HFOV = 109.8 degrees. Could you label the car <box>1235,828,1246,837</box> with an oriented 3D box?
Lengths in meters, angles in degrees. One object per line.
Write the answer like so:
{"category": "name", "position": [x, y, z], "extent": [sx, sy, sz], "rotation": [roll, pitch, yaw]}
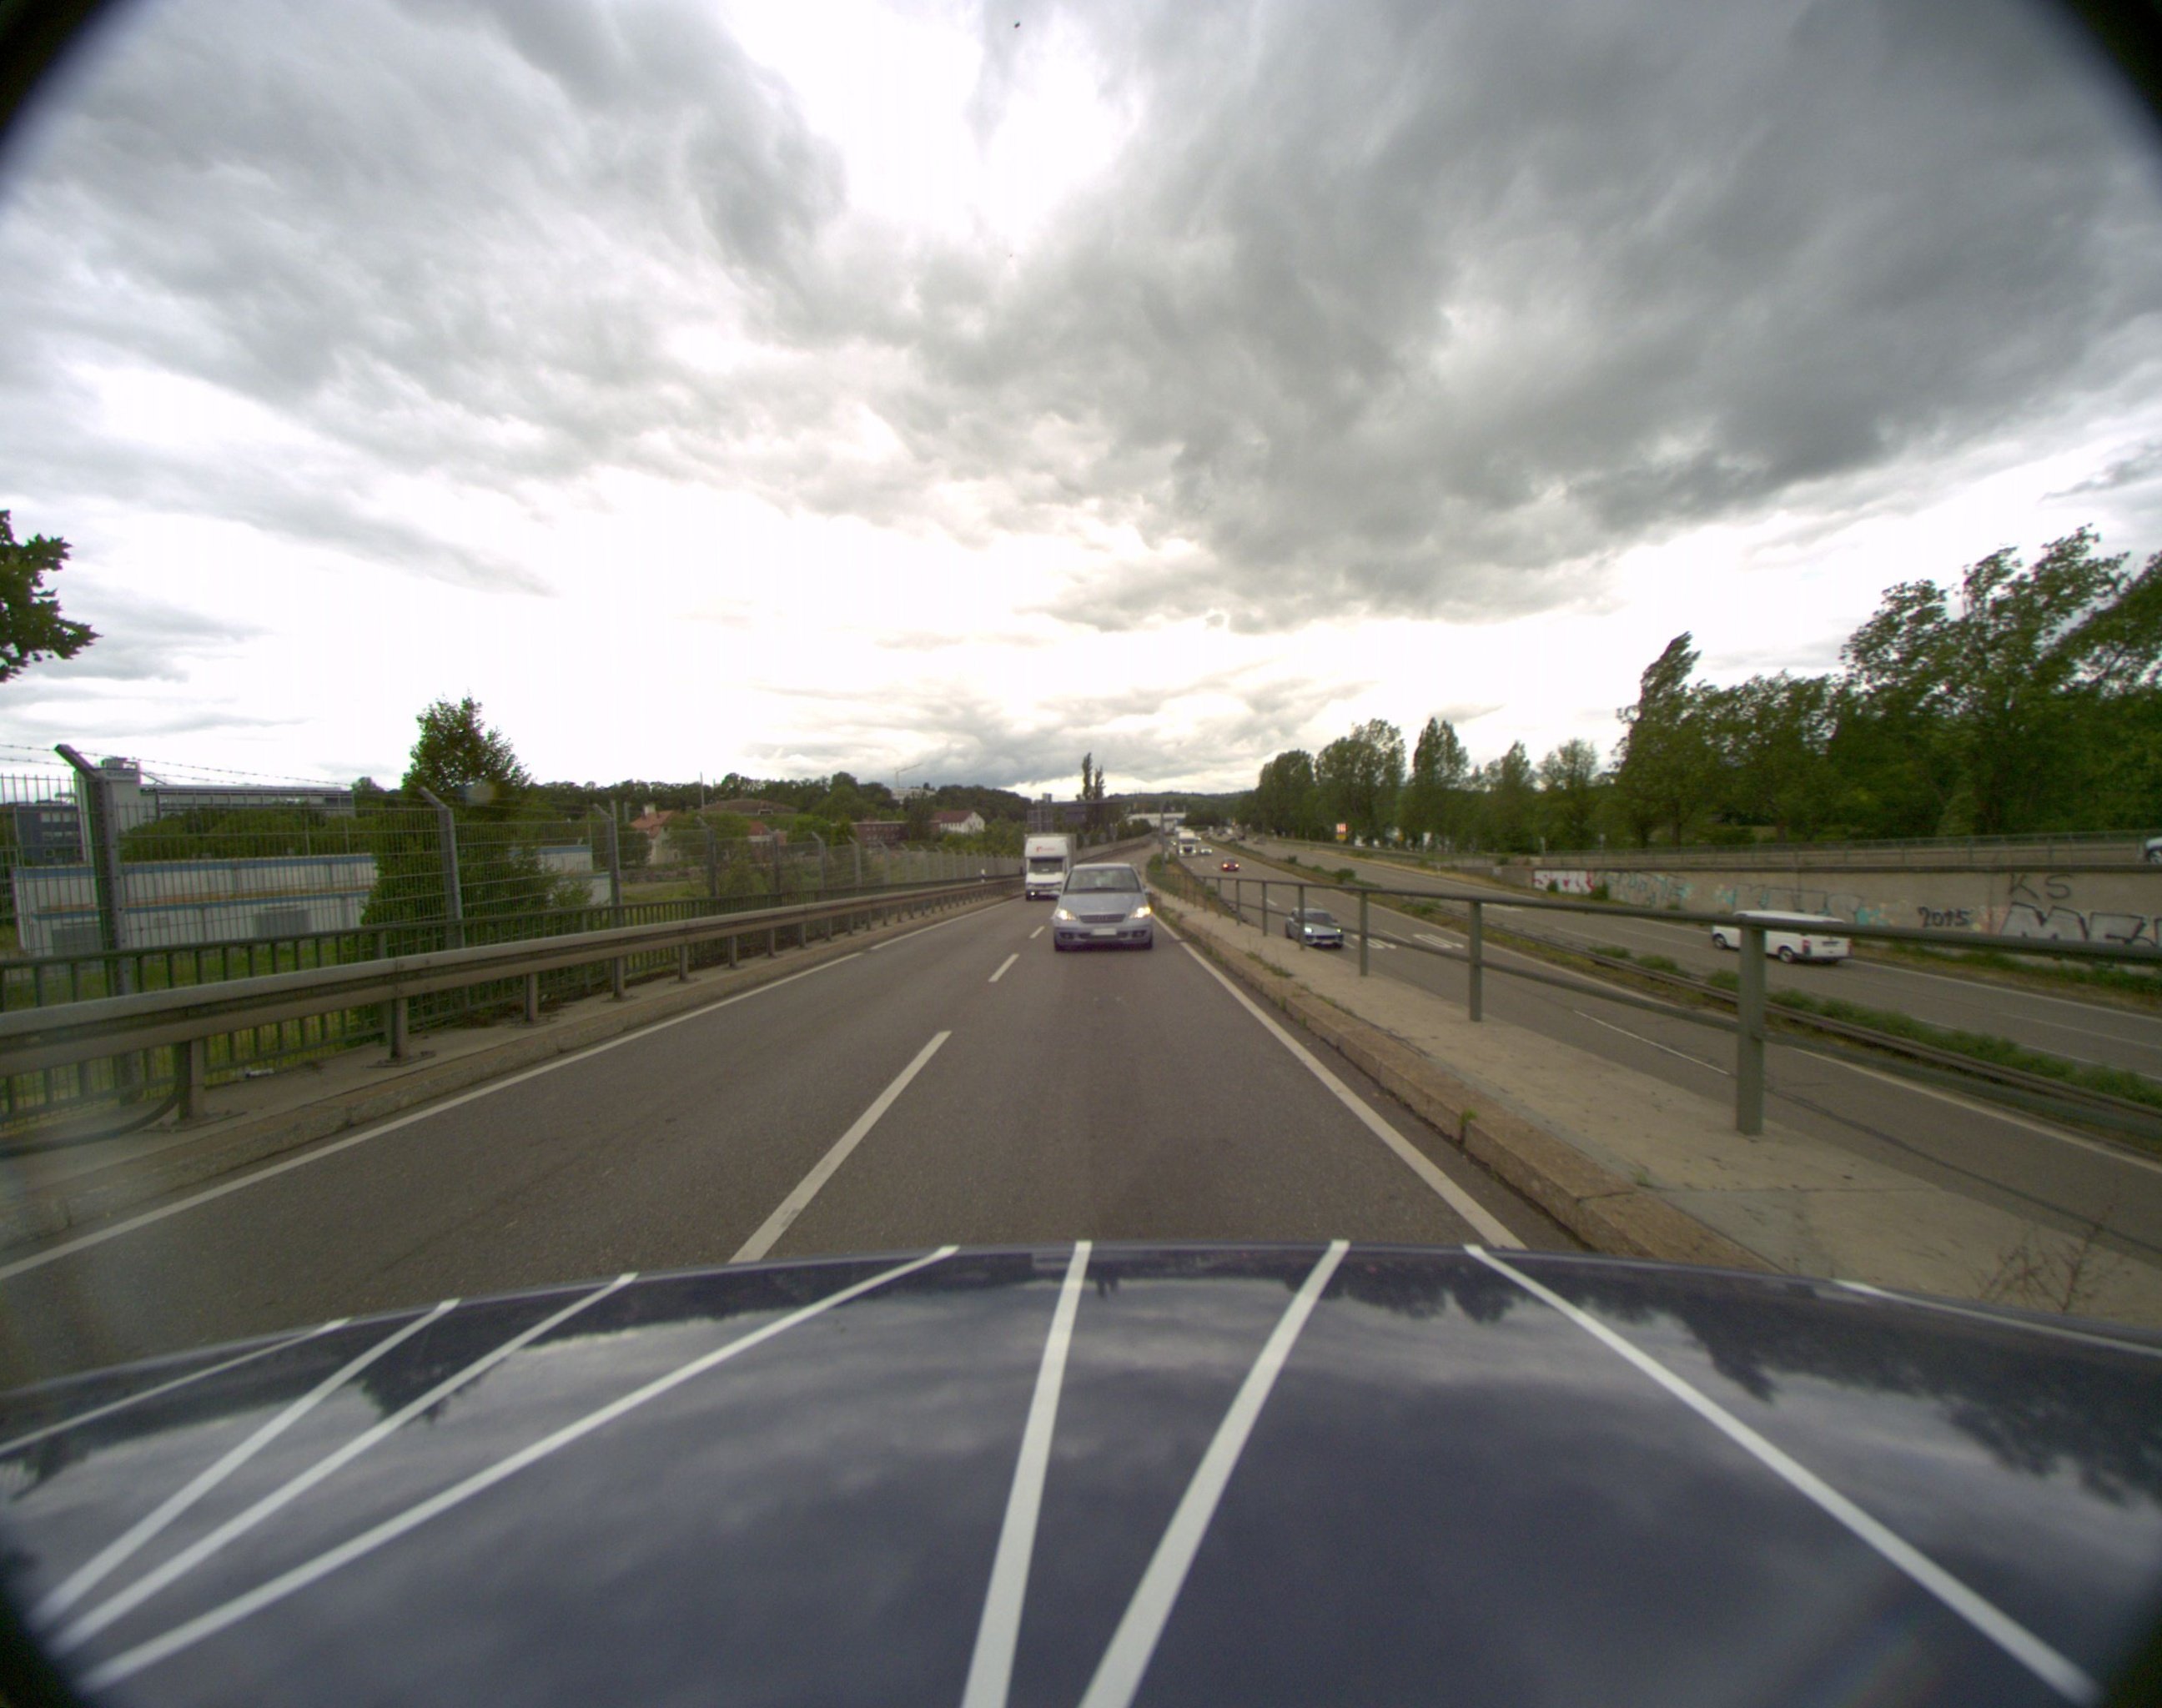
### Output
{"category": "car", "position": [45.983, -6.237, 219.030], "extent": [2.249, 2.533, 6.112], "rotation": [-1, 3, 2]}

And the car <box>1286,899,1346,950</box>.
{"category": "car", "position": [11.484, 3.405, 37.397], "extent": [1.844, 1.790, 4.277], "rotation": [-2, 4, 3]}

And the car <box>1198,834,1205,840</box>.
{"category": "car", "position": [34.933, -4.980, 220.764], "extent": [1.857, 1.598, 4.166], "rotation": [0, 3, 7]}

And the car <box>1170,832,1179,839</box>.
{"category": "car", "position": [23.413, -4.708, 189.836], "extent": [1.858, 1.598, 4.164], "rotation": [0, 3, 2]}

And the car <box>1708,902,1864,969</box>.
{"category": "car", "position": [30.190, 3.431, 32.830], "extent": [1.998, 2.056, 5.175], "rotation": [-2, 3, 2]}

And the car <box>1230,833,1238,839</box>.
{"category": "car", "position": [41.197, -4.874, 204.950], "extent": [1.668, 1.493, 3.857], "rotation": [0, 3, 3]}

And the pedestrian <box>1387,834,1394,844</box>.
{"category": "pedestrian", "position": [52.073, -2.515, 127.946], "extent": [0.831, 1.696, 1.077], "rotation": [-2, 3, 3]}

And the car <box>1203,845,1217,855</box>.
{"category": "car", "position": [21.571, -0.672, 127.346], "extent": [1.919, 1.411, 4.275], "rotation": [-1, 3, 4]}

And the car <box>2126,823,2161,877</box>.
{"category": "car", "position": [38.277, -0.172, 25.004], "extent": [1.998, 1.859, 4.213], "rotation": [-2, 0, 1]}

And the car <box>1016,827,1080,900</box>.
{"category": "car", "position": [-1.525, 0.396, 38.502], "extent": [2.665, 3.310, 7.090], "rotation": [-2, 1, 1]}

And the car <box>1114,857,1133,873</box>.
{"category": "car", "position": [4.425, 1.157, 78.902], "extent": [1.780, 1.578, 4.001], "rotation": [-2, 0, 4]}

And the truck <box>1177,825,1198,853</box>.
{"category": "truck", "position": [16.996, -2.441, 121.794], "extent": [2.758, 4.228, 6.695], "rotation": [0, 3, 2]}

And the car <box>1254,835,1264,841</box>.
{"category": "car", "position": [42.517, -3.902, 181.448], "extent": [1.715, 1.368, 4.109], "rotation": [0, 3, 2]}

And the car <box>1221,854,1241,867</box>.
{"category": "car", "position": [17.411, 0.743, 88.250], "extent": [1.756, 1.432, 4.165], "rotation": [-1, 1, 4]}

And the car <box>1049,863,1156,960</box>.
{"category": "car", "position": [0.452, 1.005, 14.926], "extent": [1.780, 1.578, 4.001], "rotation": [-2, 0, 2]}

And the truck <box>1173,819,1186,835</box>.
{"category": "truck", "position": [30.271, -8.260, 233.024], "extent": [3.179, 4.501, 11.121], "rotation": [-1, 3, 4]}
